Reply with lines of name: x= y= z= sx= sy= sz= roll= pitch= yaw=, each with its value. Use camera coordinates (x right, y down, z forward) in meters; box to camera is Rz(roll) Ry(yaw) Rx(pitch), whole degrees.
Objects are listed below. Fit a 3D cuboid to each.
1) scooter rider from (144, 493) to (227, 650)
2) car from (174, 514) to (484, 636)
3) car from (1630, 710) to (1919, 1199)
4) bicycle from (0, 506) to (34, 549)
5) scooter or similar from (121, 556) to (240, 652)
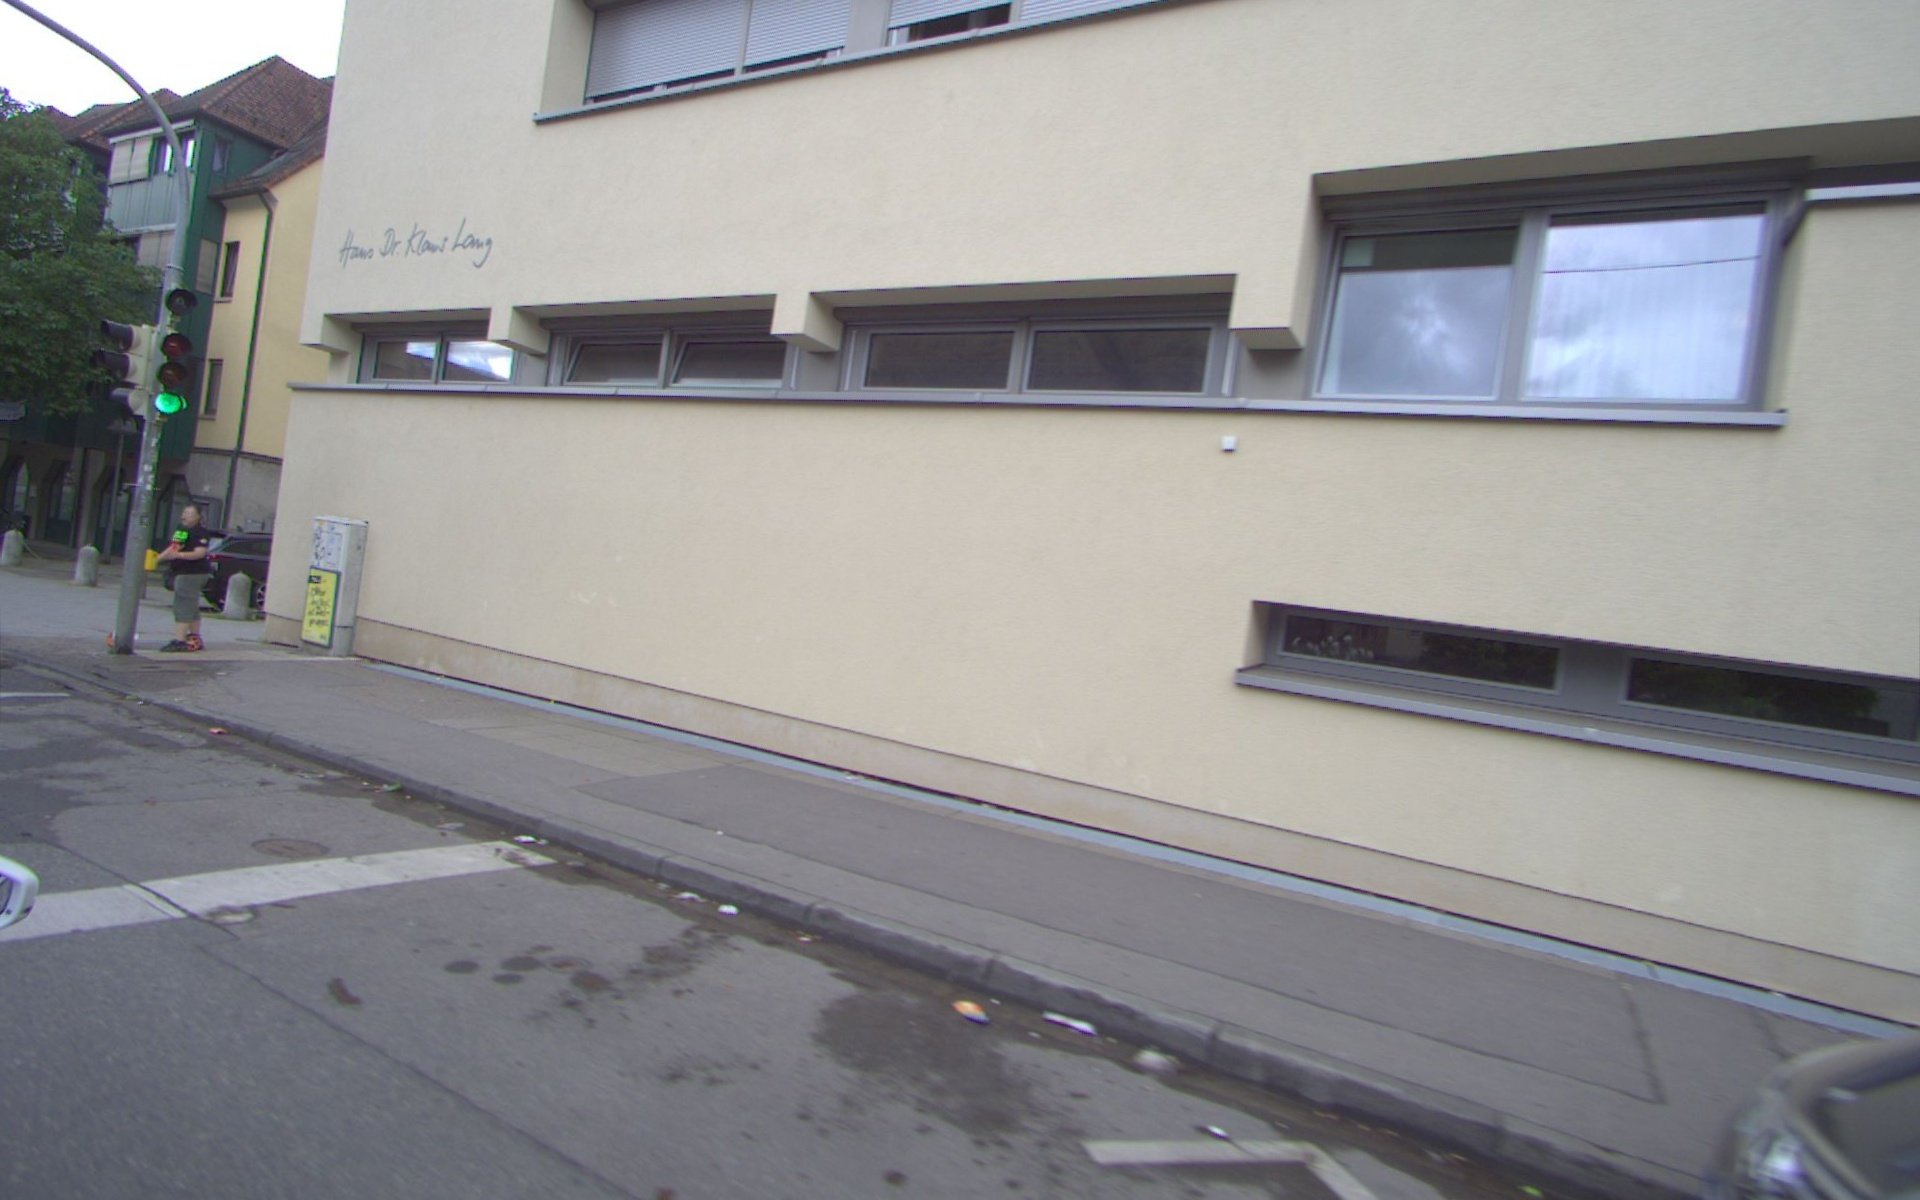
scooter rider: x=-8.469 y=-0.302 z=11.008 sx=0.495 sy=1.653 sz=0.453 roll=5 pitch=2 yaw=17
car: x=-11.783 y=-0.395 z=19.080 sx=1.825 sy=1.592 sz=4.514 roll=6 pitch=-3 yaw=37
car: x=3.356 y=1.237 z=1.451 sx=3.721 sy=1.579 sz=1.715 roll=7 pitch=-1 yaw=30
bicycle: x=-26.816 y=-2.085 z=28.107 sx=2.251 sy=1.082 sz=0.546 roll=7 pitch=0 yaw=26
scooter or similar: x=-8.503 y=0.045 z=10.984 sx=0.805 sy=0.958 sz=0.663 roll=5 pitch=1 yaw=20
